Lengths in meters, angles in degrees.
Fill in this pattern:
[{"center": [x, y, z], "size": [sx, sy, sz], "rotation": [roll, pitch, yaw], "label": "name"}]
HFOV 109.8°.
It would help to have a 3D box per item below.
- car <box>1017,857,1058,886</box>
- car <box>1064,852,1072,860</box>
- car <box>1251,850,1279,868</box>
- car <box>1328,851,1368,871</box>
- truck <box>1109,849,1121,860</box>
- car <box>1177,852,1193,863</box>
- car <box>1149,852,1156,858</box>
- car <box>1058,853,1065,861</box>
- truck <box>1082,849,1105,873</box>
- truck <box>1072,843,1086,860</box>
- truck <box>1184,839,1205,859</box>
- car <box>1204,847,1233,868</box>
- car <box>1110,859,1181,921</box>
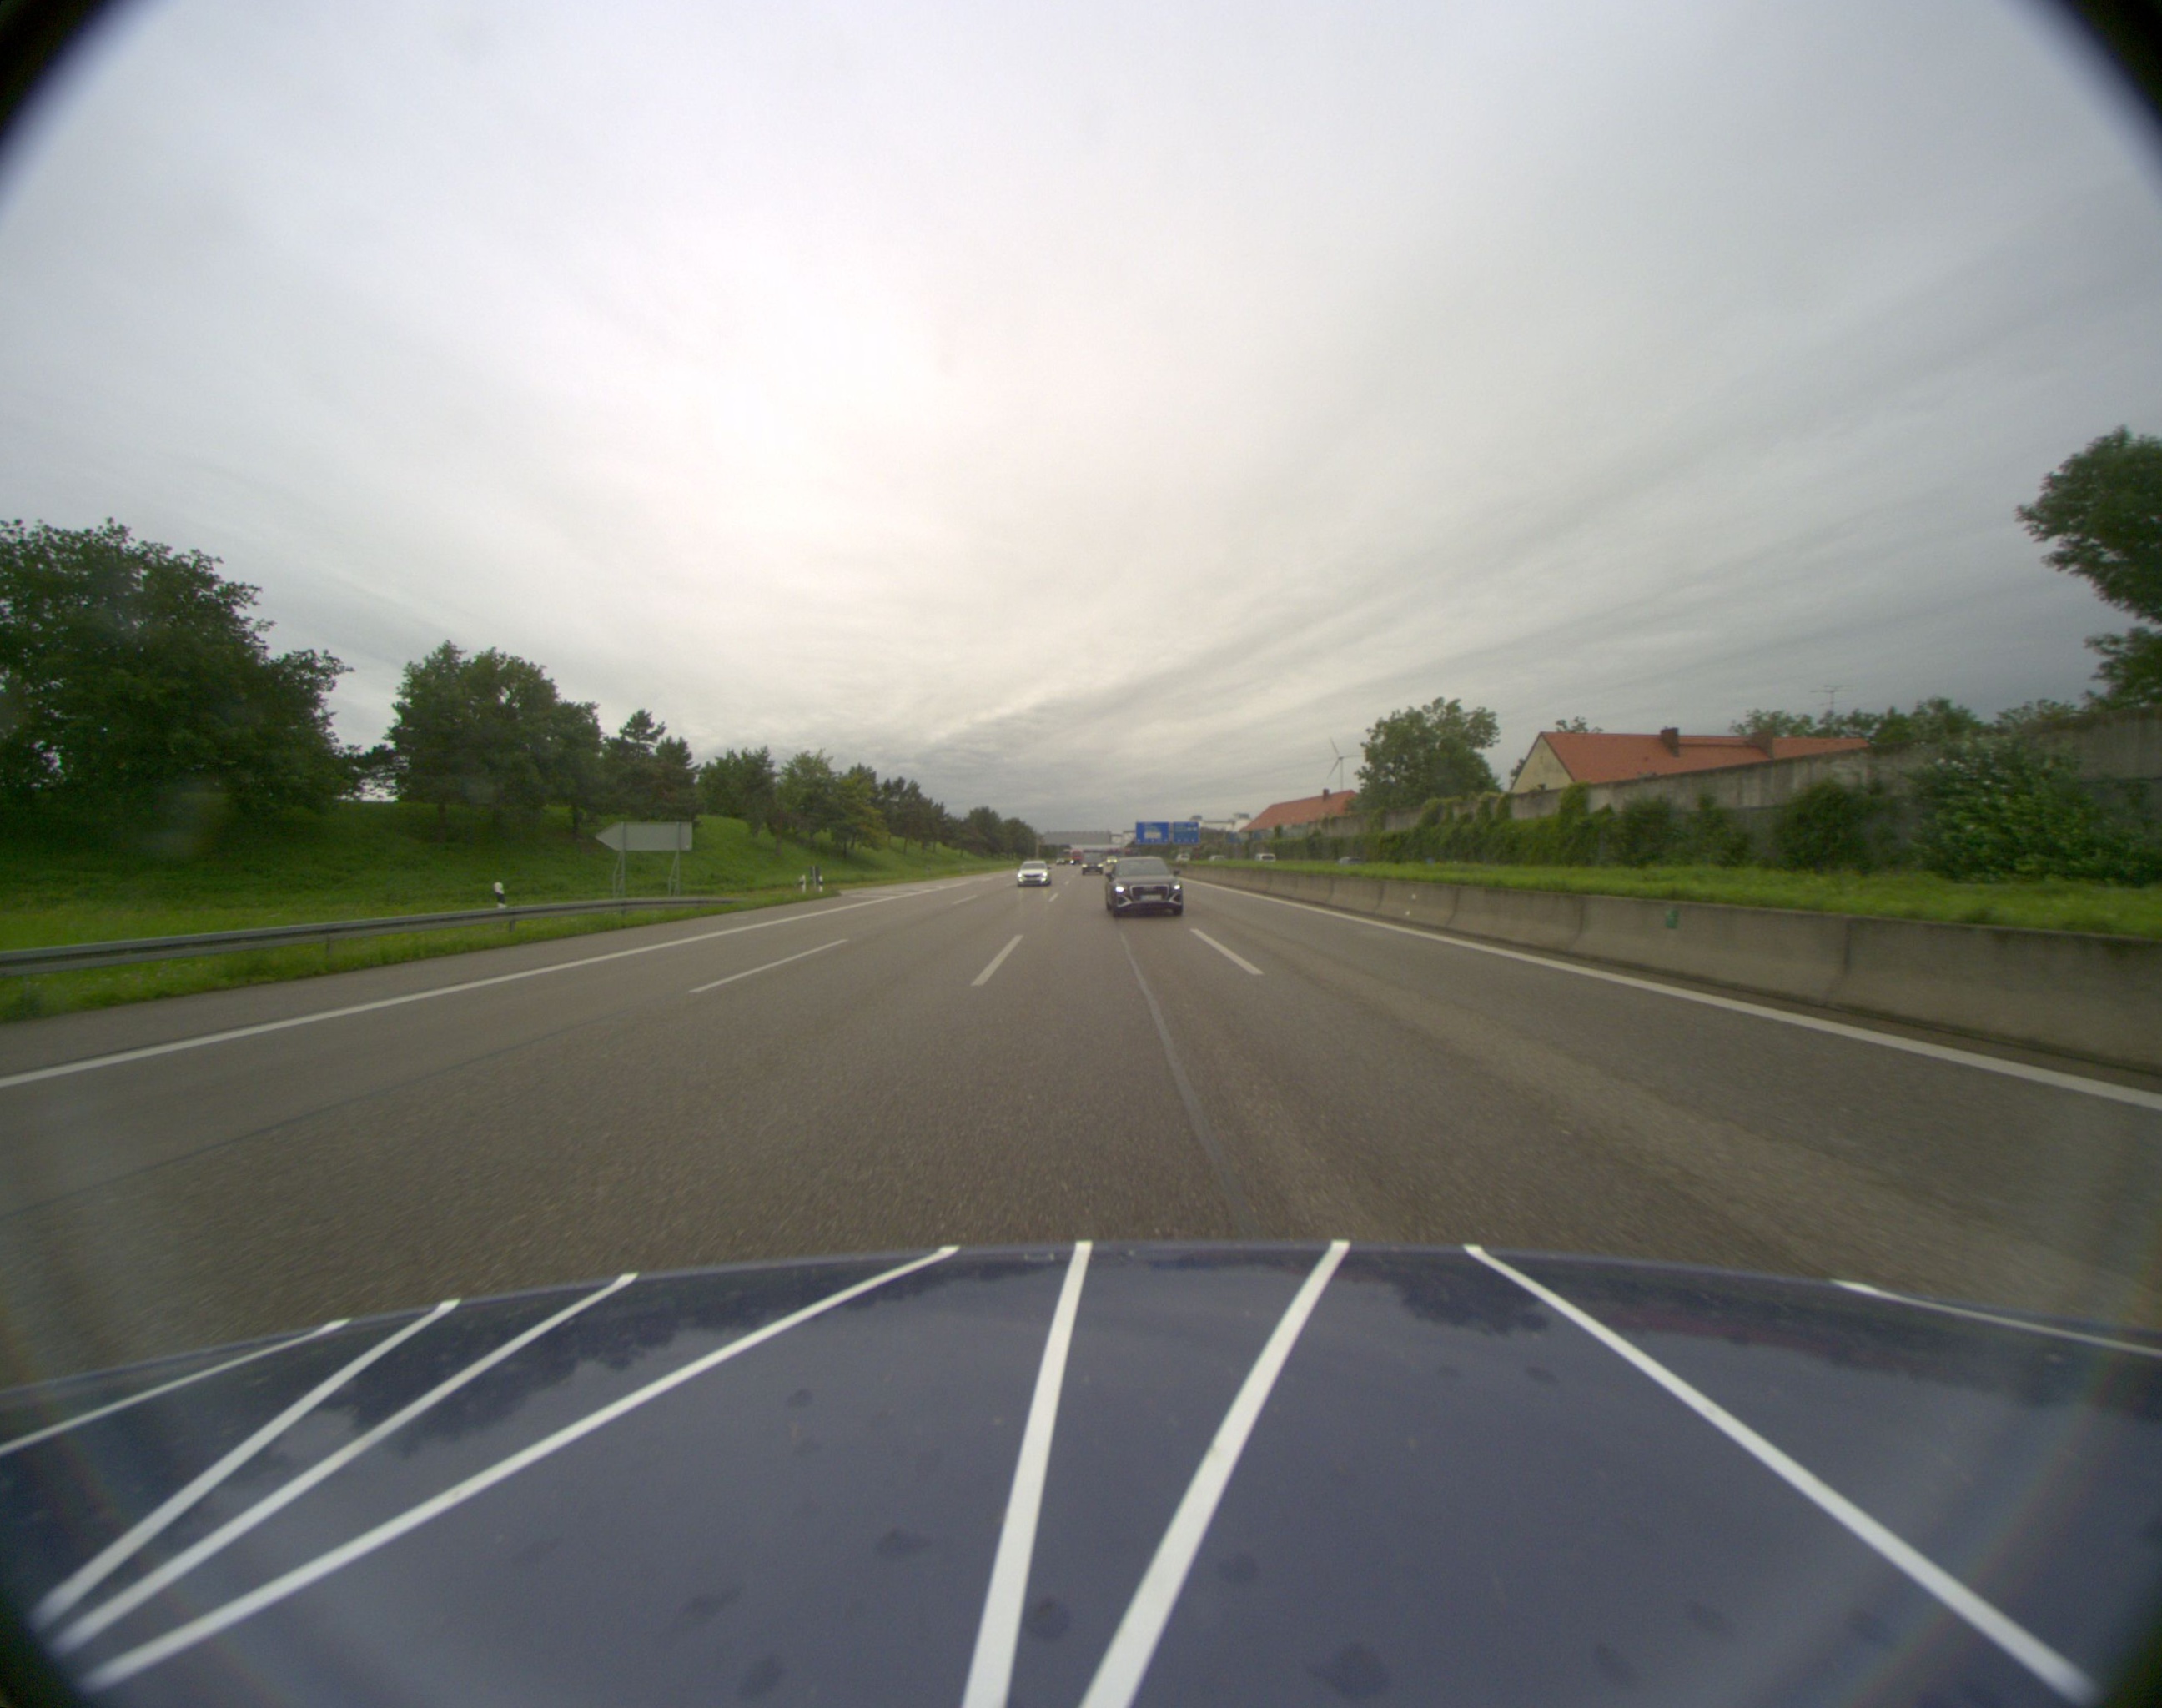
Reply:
[{"center": [-2.489, 0.987, 44.904], "size": [1.998, 1.555, 4.910], "rotation": [-2, 0, 1], "label": "car"}, {"center": [-3.741, 0.614, 216.564], "size": [1.998, 2.002, 4.000], "rotation": [-2, 1, 2], "label": "car"}, {"center": [22.005, 0.617, 90.943], "size": [1.998, 2.002, 5.226], "rotation": [-2, 1, 0], "label": "car"}, {"center": [23.637, 0.589, 67.358], "size": [1.999, 1.565, 3.999], "rotation": [-2, 1, -1], "label": "car"}, {"center": [6.138, 0.099, 138.132], "size": [1.998, 2.002, 4.000], "rotation": [-2, 0, 1], "label": "truck"}, {"center": [18.005, 0.606, 131.248], "size": [2.085, 2.002, 5.195], "rotation": [0, 0, 0], "label": "car"}, {"center": [24.136, 0.227, 256.216], "size": [1.998, 2.002, 4.956], "rotation": [-2, 1, 1], "label": "car"}, {"center": [-4.456, 0.658, 175.580], "size": [1.346, 1.732, 3.106], "rotation": [-2, 1, 1], "label": "car"}, {"center": [1.101, 0.570, 67.912], "size": [1.894, 2.002, 6.262], "rotation": [-2, 1, 1], "label": "truck"}, {"center": [-0.316, -0.542, 174.670], "size": [2.836, 3.634, 10.671], "rotation": [-2, 1, 1], "label": "truck"}, {"center": [22.377, -1.024, 149.871], "size": [2.698, 3.755, 8.336], "rotation": [-2, 1, 0], "label": "truck"}, {"center": [13.703, 0.315, 76.171], "size": [1.999, 2.002, 4.400], "rotation": [-2, 1, -1], "label": "car"}, {"center": [1.644, 0.893, 20.290], "size": [1.616, 1.403, 3.326], "rotation": [-2, 1, 1], "label": "car"}]
